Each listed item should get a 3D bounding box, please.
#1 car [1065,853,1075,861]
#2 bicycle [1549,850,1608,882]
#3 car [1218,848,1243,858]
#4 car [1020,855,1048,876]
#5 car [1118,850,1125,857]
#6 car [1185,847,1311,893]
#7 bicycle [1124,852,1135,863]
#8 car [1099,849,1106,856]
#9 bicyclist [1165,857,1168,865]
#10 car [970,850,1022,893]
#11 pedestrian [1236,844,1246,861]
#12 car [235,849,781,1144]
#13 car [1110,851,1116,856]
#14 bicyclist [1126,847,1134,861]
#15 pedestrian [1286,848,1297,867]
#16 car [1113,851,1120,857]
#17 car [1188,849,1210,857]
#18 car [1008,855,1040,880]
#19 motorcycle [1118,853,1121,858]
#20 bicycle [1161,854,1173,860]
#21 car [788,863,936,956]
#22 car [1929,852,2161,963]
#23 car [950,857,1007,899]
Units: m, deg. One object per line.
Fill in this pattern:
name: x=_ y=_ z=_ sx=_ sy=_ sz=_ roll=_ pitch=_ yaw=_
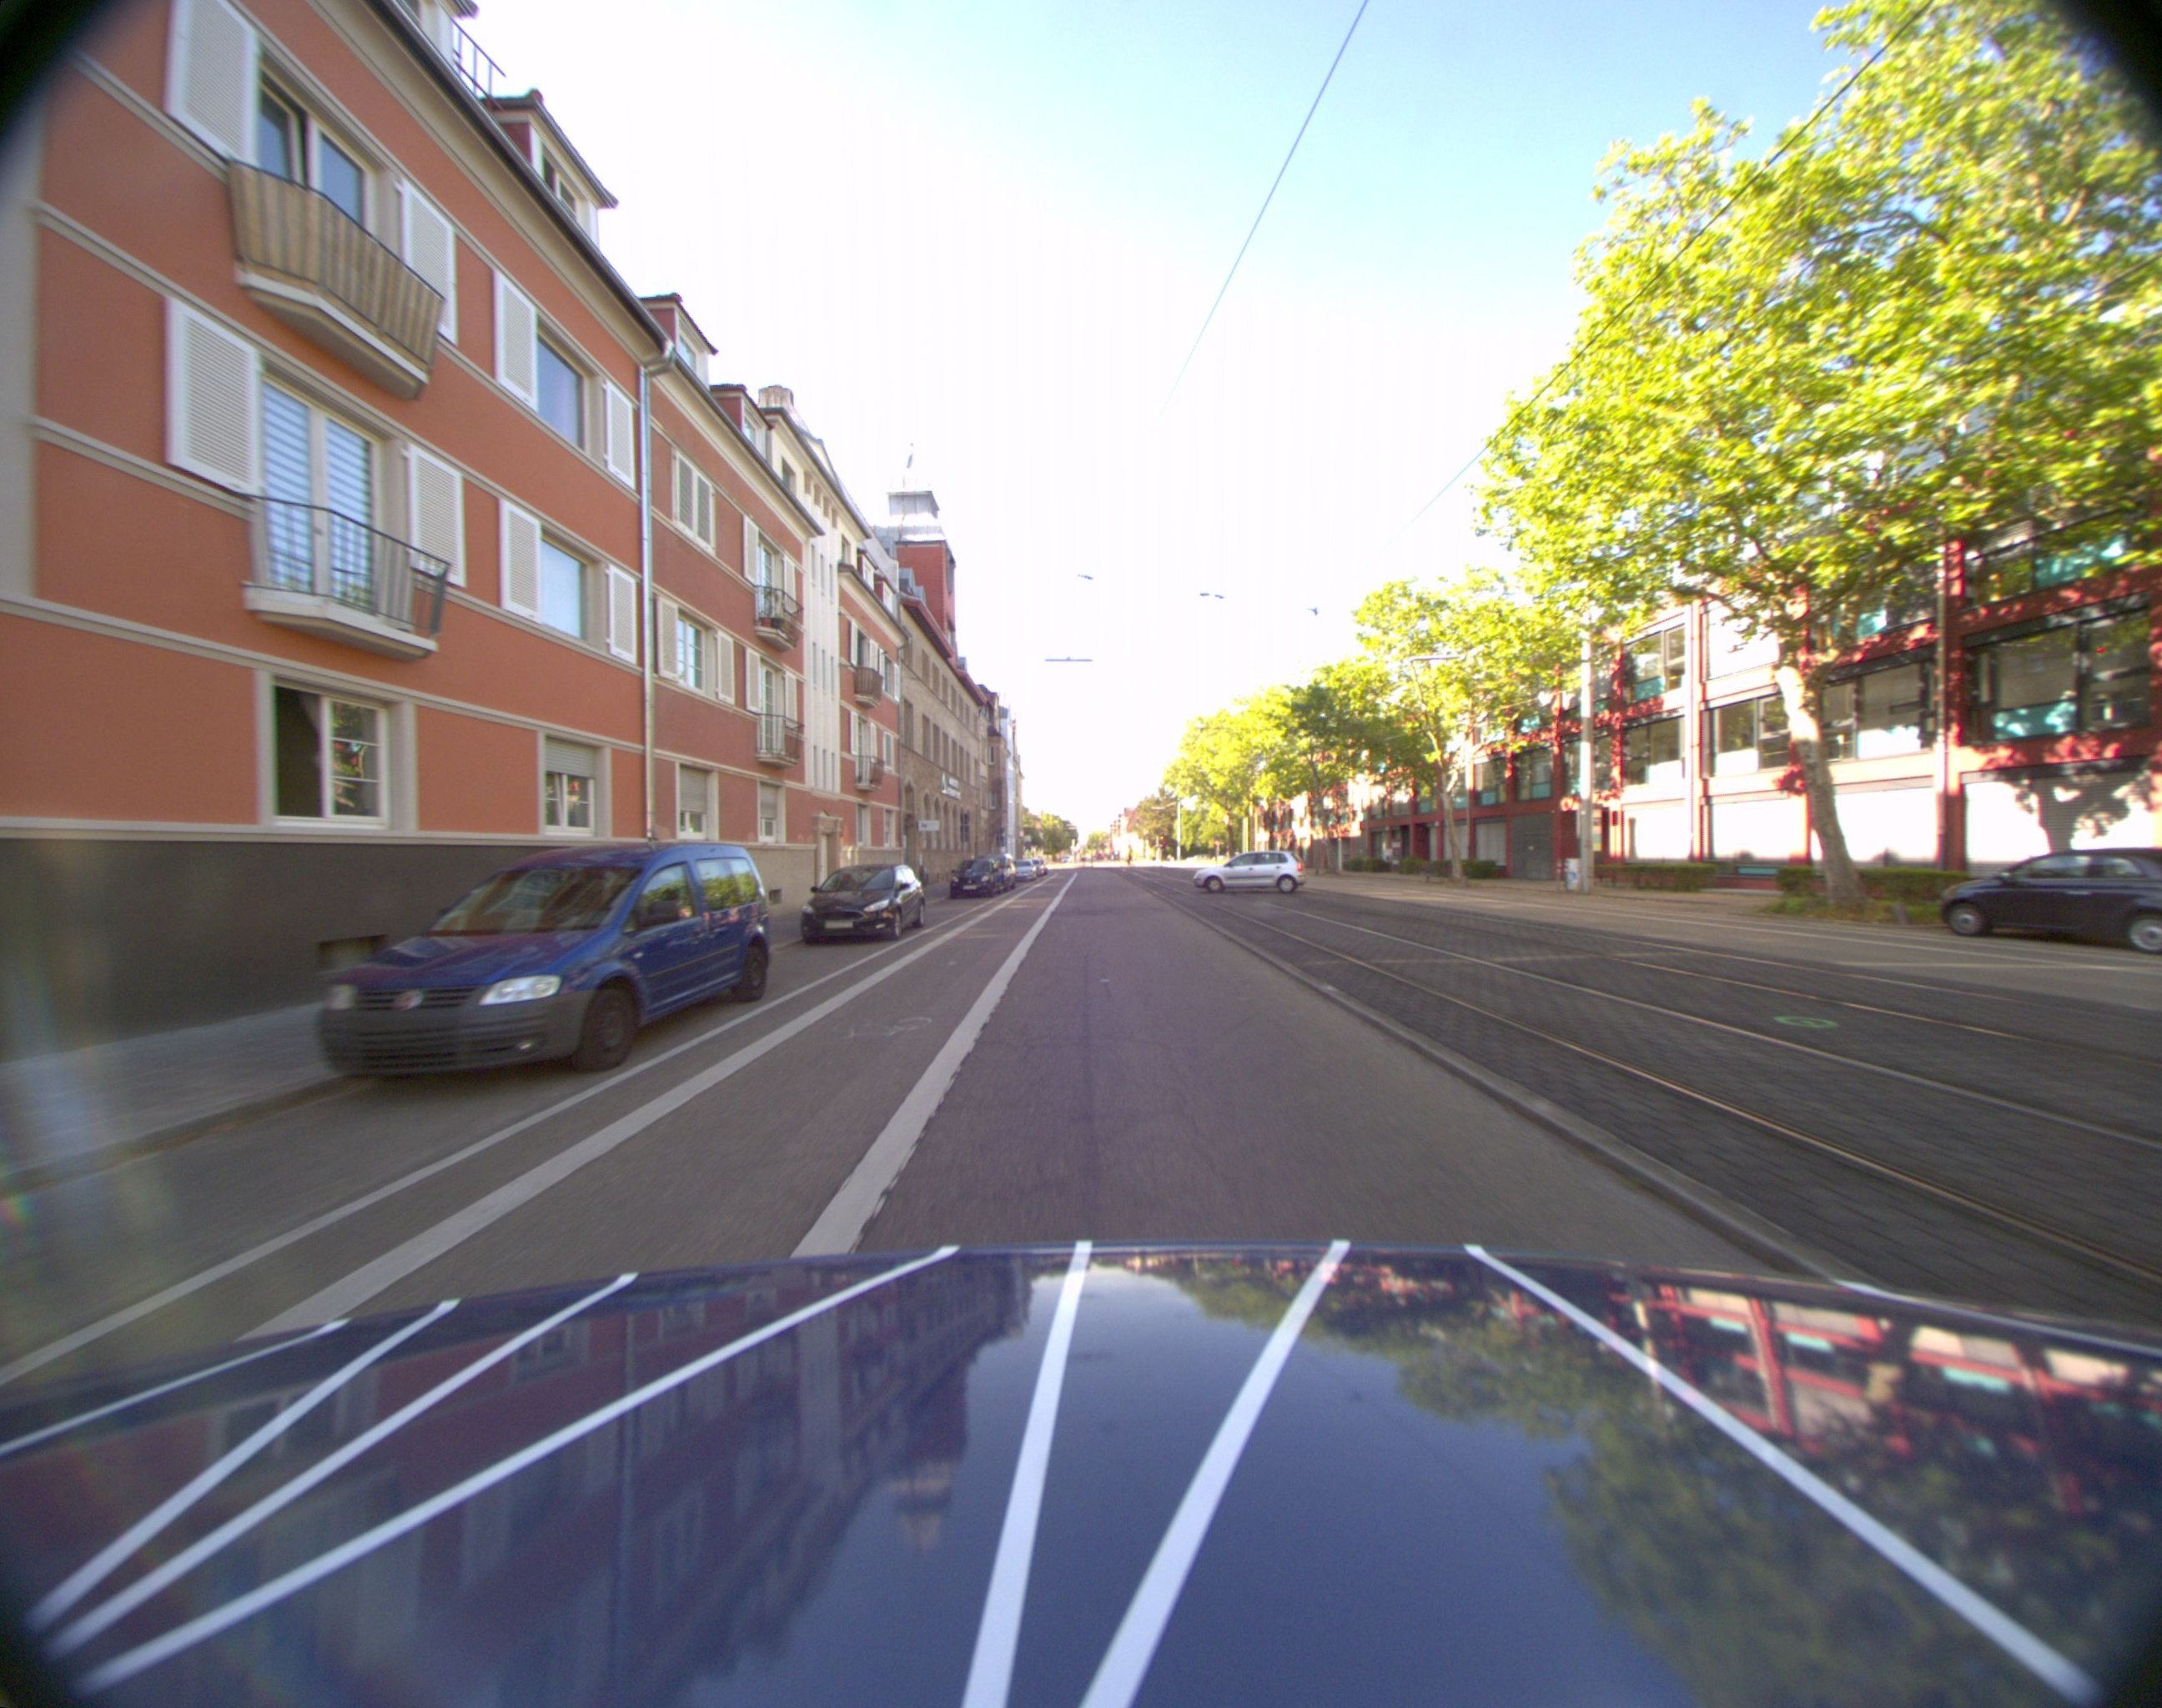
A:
car: x=-2.310 y=0.598 z=163.669 sx=1.923 sy=1.705 sz=4.001 roll=-3 pitch=0 yaw=3
bicycle: x=21.429 y=0.515 z=32.755 sx=2.066 sy=1.265 sz=0.619 roll=-3 pitch=0 yaw=5
car: x=28.524 y=-0.179 z=145.044 sx=4.311 sy=1.856 sz=1.817 roll=-1 pitch=1 yaw=3
car: x=-3.719 y=0.882 z=60.668 sx=1.757 sy=1.492 sz=4.196 roll=-3 pitch=0 yaw=2
car: x=10.858 y=-0.112 z=204.412 sx=1.923 sy=1.890 sz=4.001 roll=-3 pitch=0 yaw=3
car: x=5.847 y=0.557 z=26.571 sx=4.062 sy=1.509 sz=1.761 roll=-1 pitch=0 yaw=20
bicycle: x=5.928 y=0.468 z=93.070 sx=0.632 sy=1.124 sz=2.037 roll=2 pitch=6 yaw=25
car: x=6.887 y=-0.394 z=243.430 sx=2.024 sy=2.001 sz=5.252 roll=1 pitch=-1 yaw=3
bicyclist: x=16.239 y=1.322 z=143.952 sx=0.559 sy=1.613 sz=0.899 roll=0 pitch=1 yaw=8
car: x=-3.907 y=0.755 z=35.510 sx=1.757 sy=1.844 sz=4.815 roll=-2 pitch=0 yaw=1
pedestrian: x=18.858 y=-0.150 z=89.594 sx=0.913 sy=2.002 sz=0.780 roll=-3 pitch=0 yaw=-8
car: x=-4.452 y=0.888 z=6.930 sx=1.707 sy=1.800 sz=4.271 roll=-2 pitch=0 yaw=-1
car: x=10.727 y=-0.221 z=254.954 sx=1.924 sy=1.705 sz=4.001 roll=-3 pitch=0 yaw=2
bicyclist: x=5.955 y=0.010 z=93.097 sx=0.605 sy=1.682 sz=0.934 roll=-2 pitch=0 yaw=26
pedestrian: x=19.148 y=0.287 z=69.195 sx=0.627 sy=1.708 sz=0.900 roll=-3 pitch=1 yaw=0
car: x=10.228 y=-0.067 z=219.168 sx=1.924 sy=1.705 sz=4.000 roll=-3 pitch=0 yaw=2
car: x=22.150 y=-0.111 z=142.737 sx=3.995 sy=1.425 sz=1.817 roll=-1 pitch=0 yaw=6
car: x=-3.756 y=0.887 z=50.476 sx=1.718 sy=1.492 sz=4.226 roll=-3 pitch=0 yaw=1
motorcycle: x=9.616 y=0.354 z=189.660 sx=0.605 sy=1.040 sz=2.437 roll=-3 pitch=0 yaw=3
bicycle: x=16.329 y=0.659 z=143.932 sx=2.284 sy=1.111 sz=0.930 roll=-1 pitch=1 yaw=8
car: x=-4.334 y=1.014 z=15.847 sx=1.758 sy=1.502 sz=4.761 roll=-3 pitch=0 yaw=-2
car: x=15.473 y=0.724 z=11.469 sx=1.511 sy=1.445 sz=3.464 roll=-3 pitch=0 yaw=2
car: x=-4.096 y=0.915 z=30.804 sx=1.635 sy=1.502 sz=3.717 roll=-3 pitch=0 yaw=2
